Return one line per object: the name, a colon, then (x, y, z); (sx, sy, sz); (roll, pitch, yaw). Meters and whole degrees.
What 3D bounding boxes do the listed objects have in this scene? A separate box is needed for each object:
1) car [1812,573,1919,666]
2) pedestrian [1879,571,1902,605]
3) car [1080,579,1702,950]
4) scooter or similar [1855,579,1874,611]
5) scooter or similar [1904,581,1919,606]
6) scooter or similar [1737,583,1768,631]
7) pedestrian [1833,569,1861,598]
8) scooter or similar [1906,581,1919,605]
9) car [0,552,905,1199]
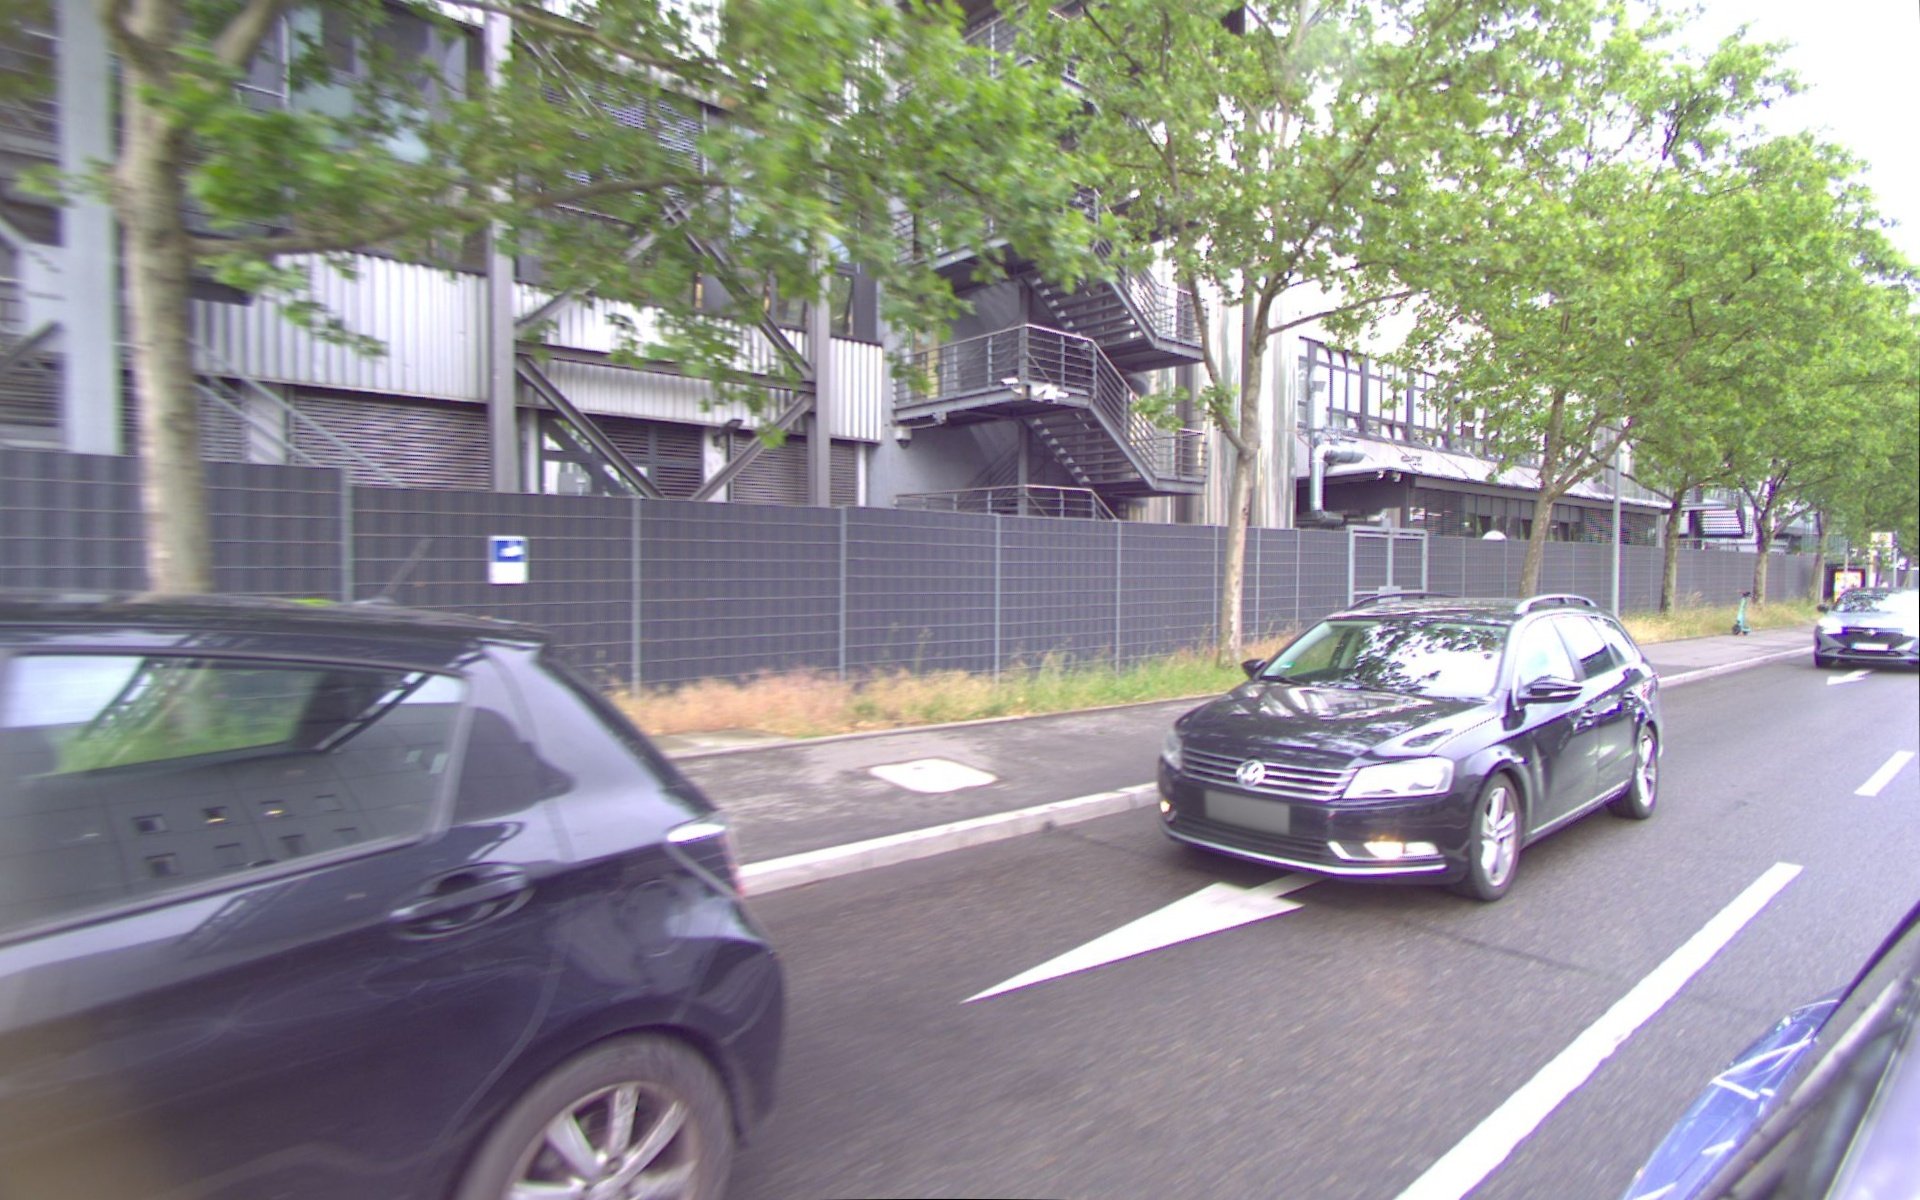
car: (18.505, 0.325, 20.067); (4.005, 1.639, 1.949); (-1, 3, -43)
pedestrian: (47.276, -0.611, 51.426); (0.717, 1.731, 0.777); (-1, 2, -42)
car: (2.972, 0.617, 6.305); (4.706, 1.471, 1.839); (-1, 1, -43)
scooter or similar: (38.080, -0.228, 42.614); (1.223, 1.324, 0.329); (-1, 2, -37)
scooter or similar: (50.407, -0.360, 53.554); (1.277, 1.311, 0.437); (-1, 2, -39)
scooter or similar: (22.107, 0.185, 28.224); (1.087, 1.285, 0.330); (-1, 2, -33)
pedestrian: (43.596, -0.811, 49.723); (0.686, 1.433, 0.932); (-1, 2, -42)
scooter or similar: (51.889, -0.391, 55.013); (1.277, 1.311, 0.437); (-1, 2, -39)
car: (-2.213, 0.678, 1.667); (4.010, 1.512, 1.877); (-1, 3, -45)
